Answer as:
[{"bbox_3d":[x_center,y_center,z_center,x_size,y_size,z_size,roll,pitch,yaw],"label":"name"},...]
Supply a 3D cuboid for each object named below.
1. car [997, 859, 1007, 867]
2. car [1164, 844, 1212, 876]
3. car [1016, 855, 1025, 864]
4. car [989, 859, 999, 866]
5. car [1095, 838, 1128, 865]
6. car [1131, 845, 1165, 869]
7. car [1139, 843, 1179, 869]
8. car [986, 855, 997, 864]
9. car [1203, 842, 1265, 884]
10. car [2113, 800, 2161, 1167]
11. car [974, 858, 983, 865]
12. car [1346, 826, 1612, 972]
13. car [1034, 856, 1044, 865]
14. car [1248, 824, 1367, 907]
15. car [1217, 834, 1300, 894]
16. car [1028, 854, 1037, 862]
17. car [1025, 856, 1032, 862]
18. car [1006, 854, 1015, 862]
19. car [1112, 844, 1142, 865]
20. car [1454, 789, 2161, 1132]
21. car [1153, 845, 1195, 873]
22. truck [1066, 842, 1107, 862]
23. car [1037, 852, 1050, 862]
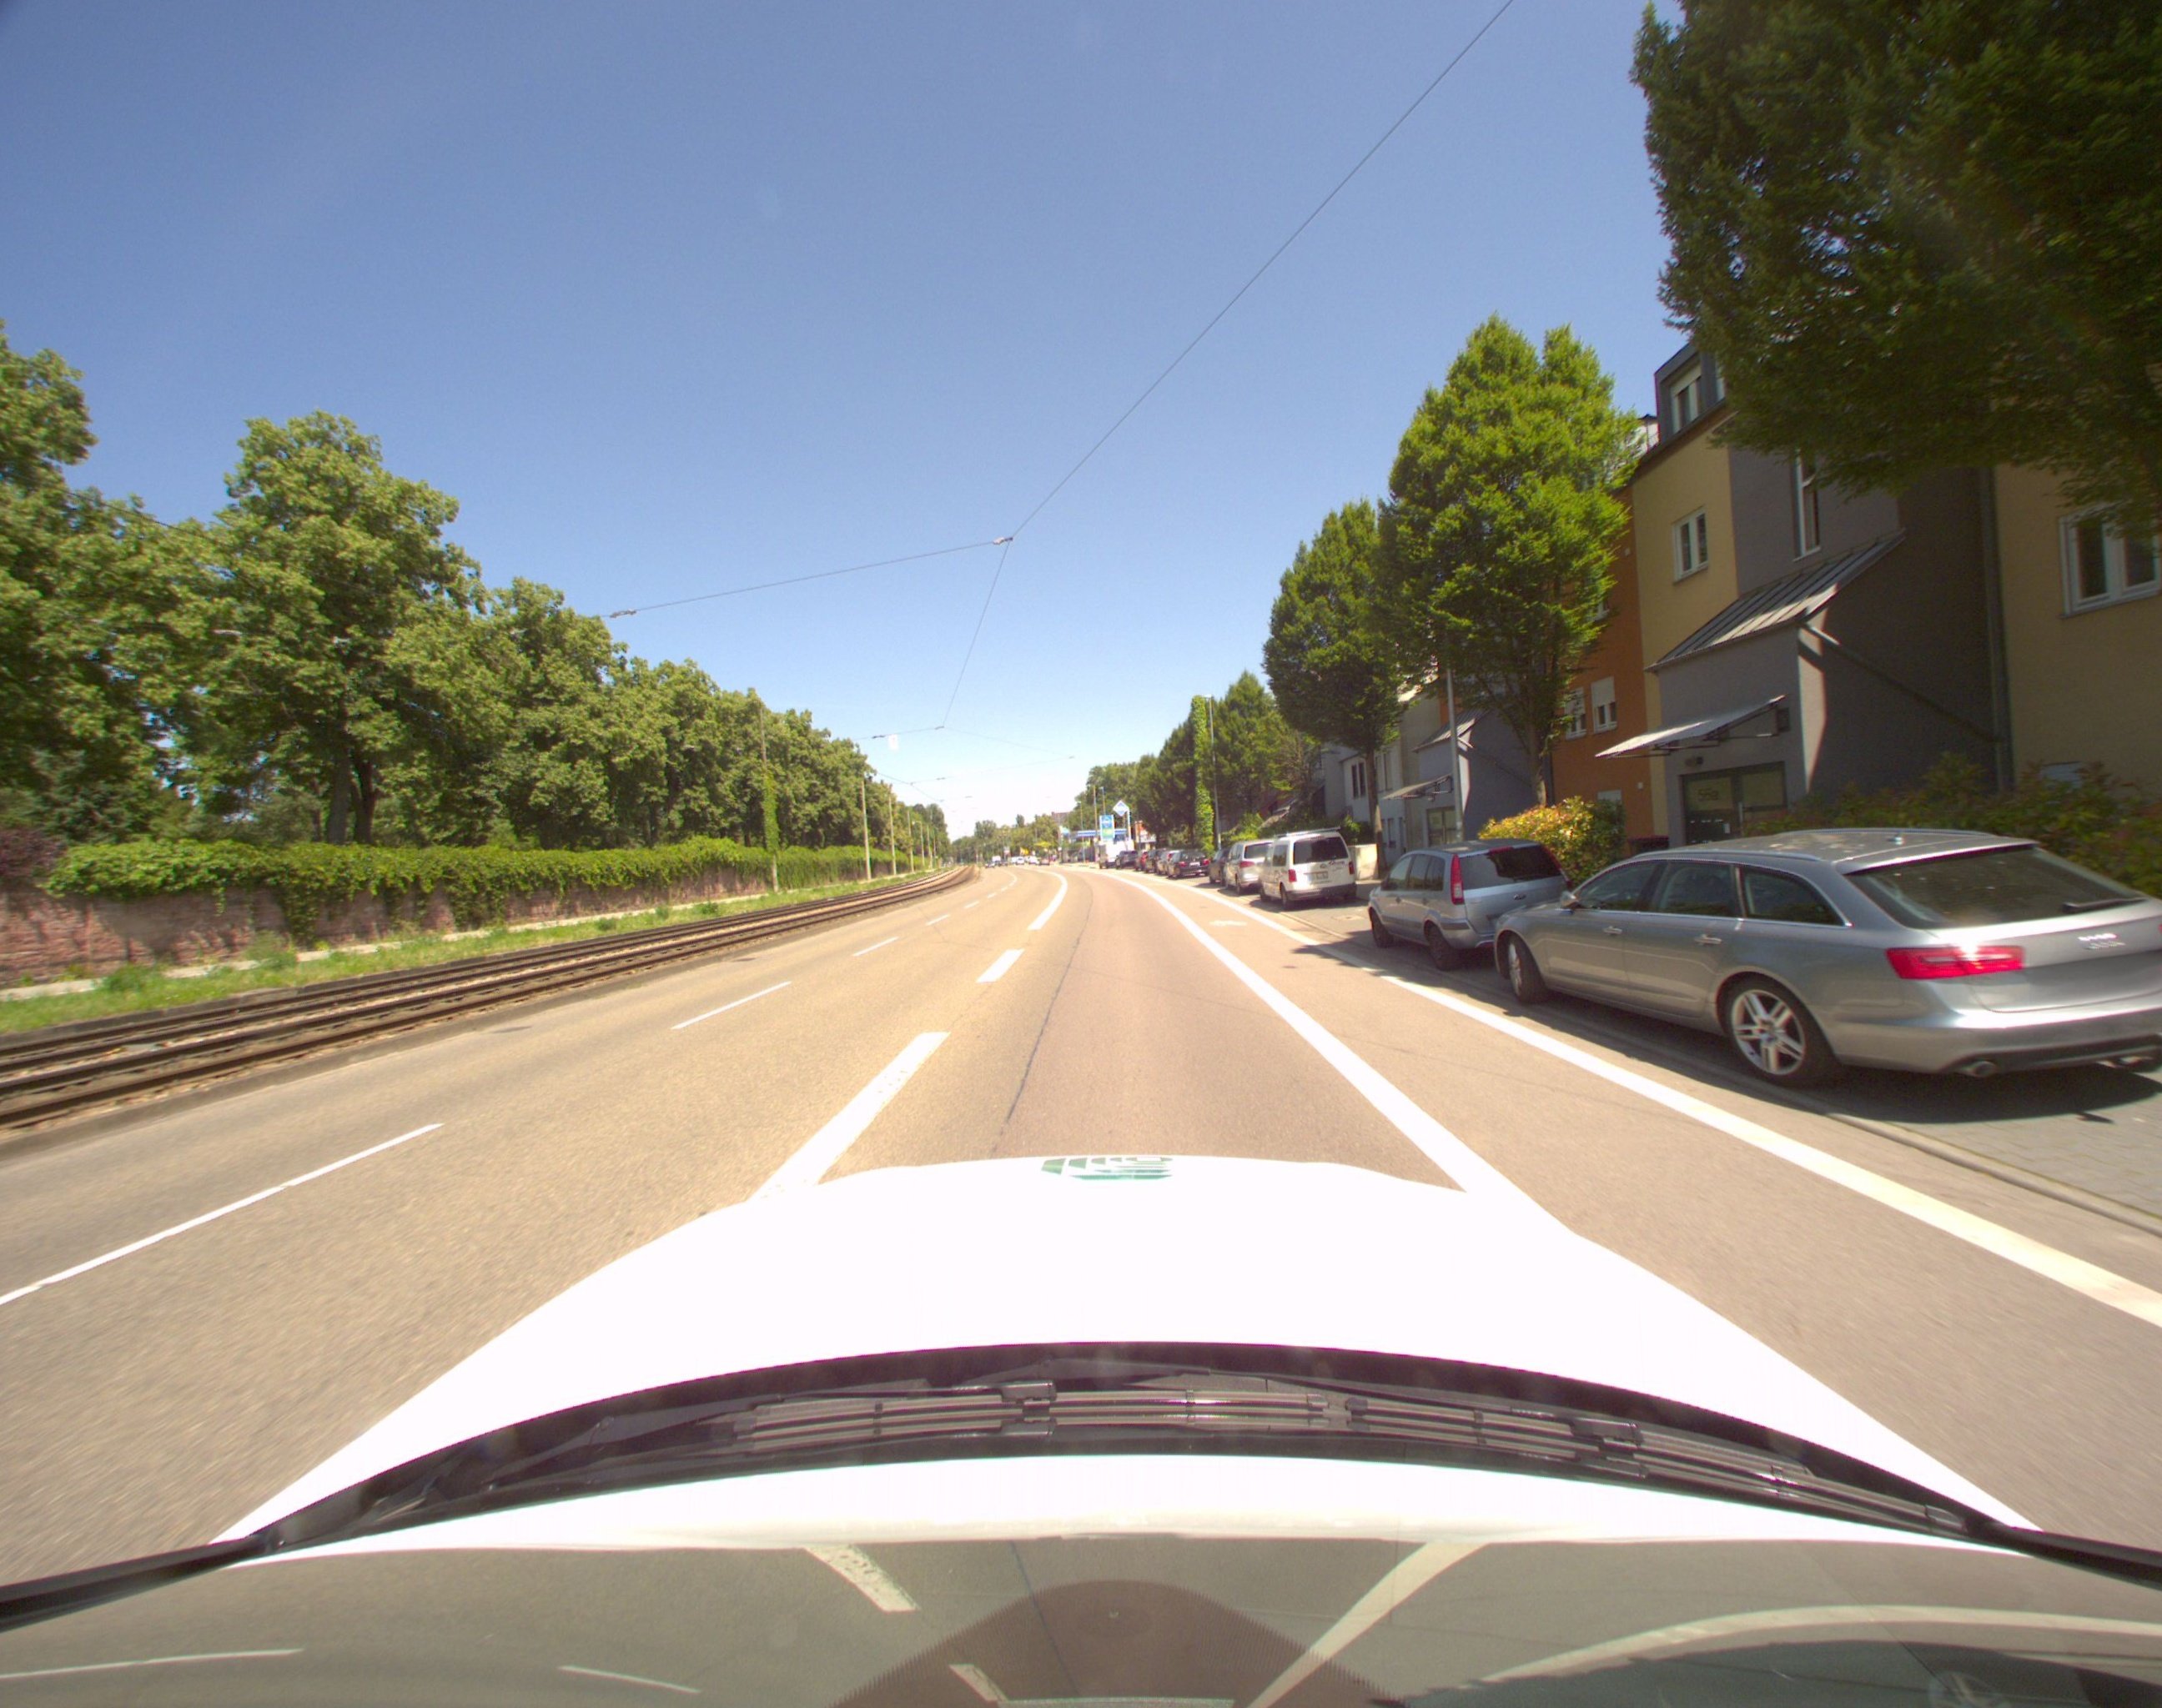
[{"bbox_3d":[-16.922,1.918,174.478,1.754,1.630,4.313,-6,0,-7],"label":"car"},{"bbox_3d":[5.763,0.301,44.580,1.702,1.492,5.035,-6,0,-2],"label":"car"},{"bbox_3d":[-14.177,1.266,190.105,1.754,1.874,4.313,-6,0,-7],"label":"car"},{"bbox_3d":[-21.458,2.147,201.249,1.757,1.630,4.306,-6,0,-12],"label":"car"},{"bbox_3d":[3.022,-0.245,81.873,2.000,2.456,6.092,-6,0,-8],"label":"car"},{"bbox_3d":[5.031,0.219,61.711,1.705,1.562,4.315,-6,0,-6],"label":"car"},{"bbox_3d":[5.313,0.130,55.781,1.705,1.562,4.313,-6,0,-7],"label":"car"},{"bbox_3d":[-16.730,0.980,152.231,1.754,1.509,4.313,-6,0,-7],"label":"car"},{"bbox_3d":[6.119,0.328,33.070,1.579,1.423,4.179,-6,0,0],"label":"car"},{"bbox_3d":[5.127,0.499,1.532,1.513,1.529,3.819,-6,0,2],"label":"car"},{"bbox_3d":[-25.441,1.884,201.709,1.757,1.630,4.306,-6,0,-12],"label":"car"},{"bbox_3d":[5.308,0.493,11.580,1.833,1.529,4.220,-6,0,4],"label":"car"},{"bbox_3d":[-8.831,1.417,171.128,1.753,1.630,4.316,-6,0,-5],"label":"car"},{"bbox_3d":[5.815,0.254,21.517,1.834,1.793,4.354,-6,0,1],"label":"car"},{"bbox_3d":[5.914,0.270,27.704,1.833,1.694,4.782,-6,0,3],"label":"car"},{"bbox_3d":[-11.471,0.936,191.931,1.754,1.630,4.313,-6,0,-7],"label":"car"},{"bbox_3d":[-16.034,1.512,246.540,1.754,1.630,4.313,-6,0,-7],"label":"car"},{"bbox_3d":[-16.268,0.869,188.110,1.753,1.630,4.316,-6,0,-5],"label":"car"},{"bbox_3d":[4.014,0.045,71.721,1.754,1.630,4.313,-6,0,-7],"label":"car"},{"bbox_3d":[5.097,0.481,6.475,1.835,1.529,4.965,-6,0,0],"label":"car"},{"bbox_3d":[5.697,0.295,50.236,1.703,1.492,4.727,-6,0,-3],"label":"car"},{"bbox_3d":[1.132,-0.343,165.956,7.945,3.602,2.661,-4,0,-1],"label":"truck"},{"bbox_3d":[-6.680,0.586,144.304,1.754,1.630,4.313,-6,0,-7],"label":"car"}]
